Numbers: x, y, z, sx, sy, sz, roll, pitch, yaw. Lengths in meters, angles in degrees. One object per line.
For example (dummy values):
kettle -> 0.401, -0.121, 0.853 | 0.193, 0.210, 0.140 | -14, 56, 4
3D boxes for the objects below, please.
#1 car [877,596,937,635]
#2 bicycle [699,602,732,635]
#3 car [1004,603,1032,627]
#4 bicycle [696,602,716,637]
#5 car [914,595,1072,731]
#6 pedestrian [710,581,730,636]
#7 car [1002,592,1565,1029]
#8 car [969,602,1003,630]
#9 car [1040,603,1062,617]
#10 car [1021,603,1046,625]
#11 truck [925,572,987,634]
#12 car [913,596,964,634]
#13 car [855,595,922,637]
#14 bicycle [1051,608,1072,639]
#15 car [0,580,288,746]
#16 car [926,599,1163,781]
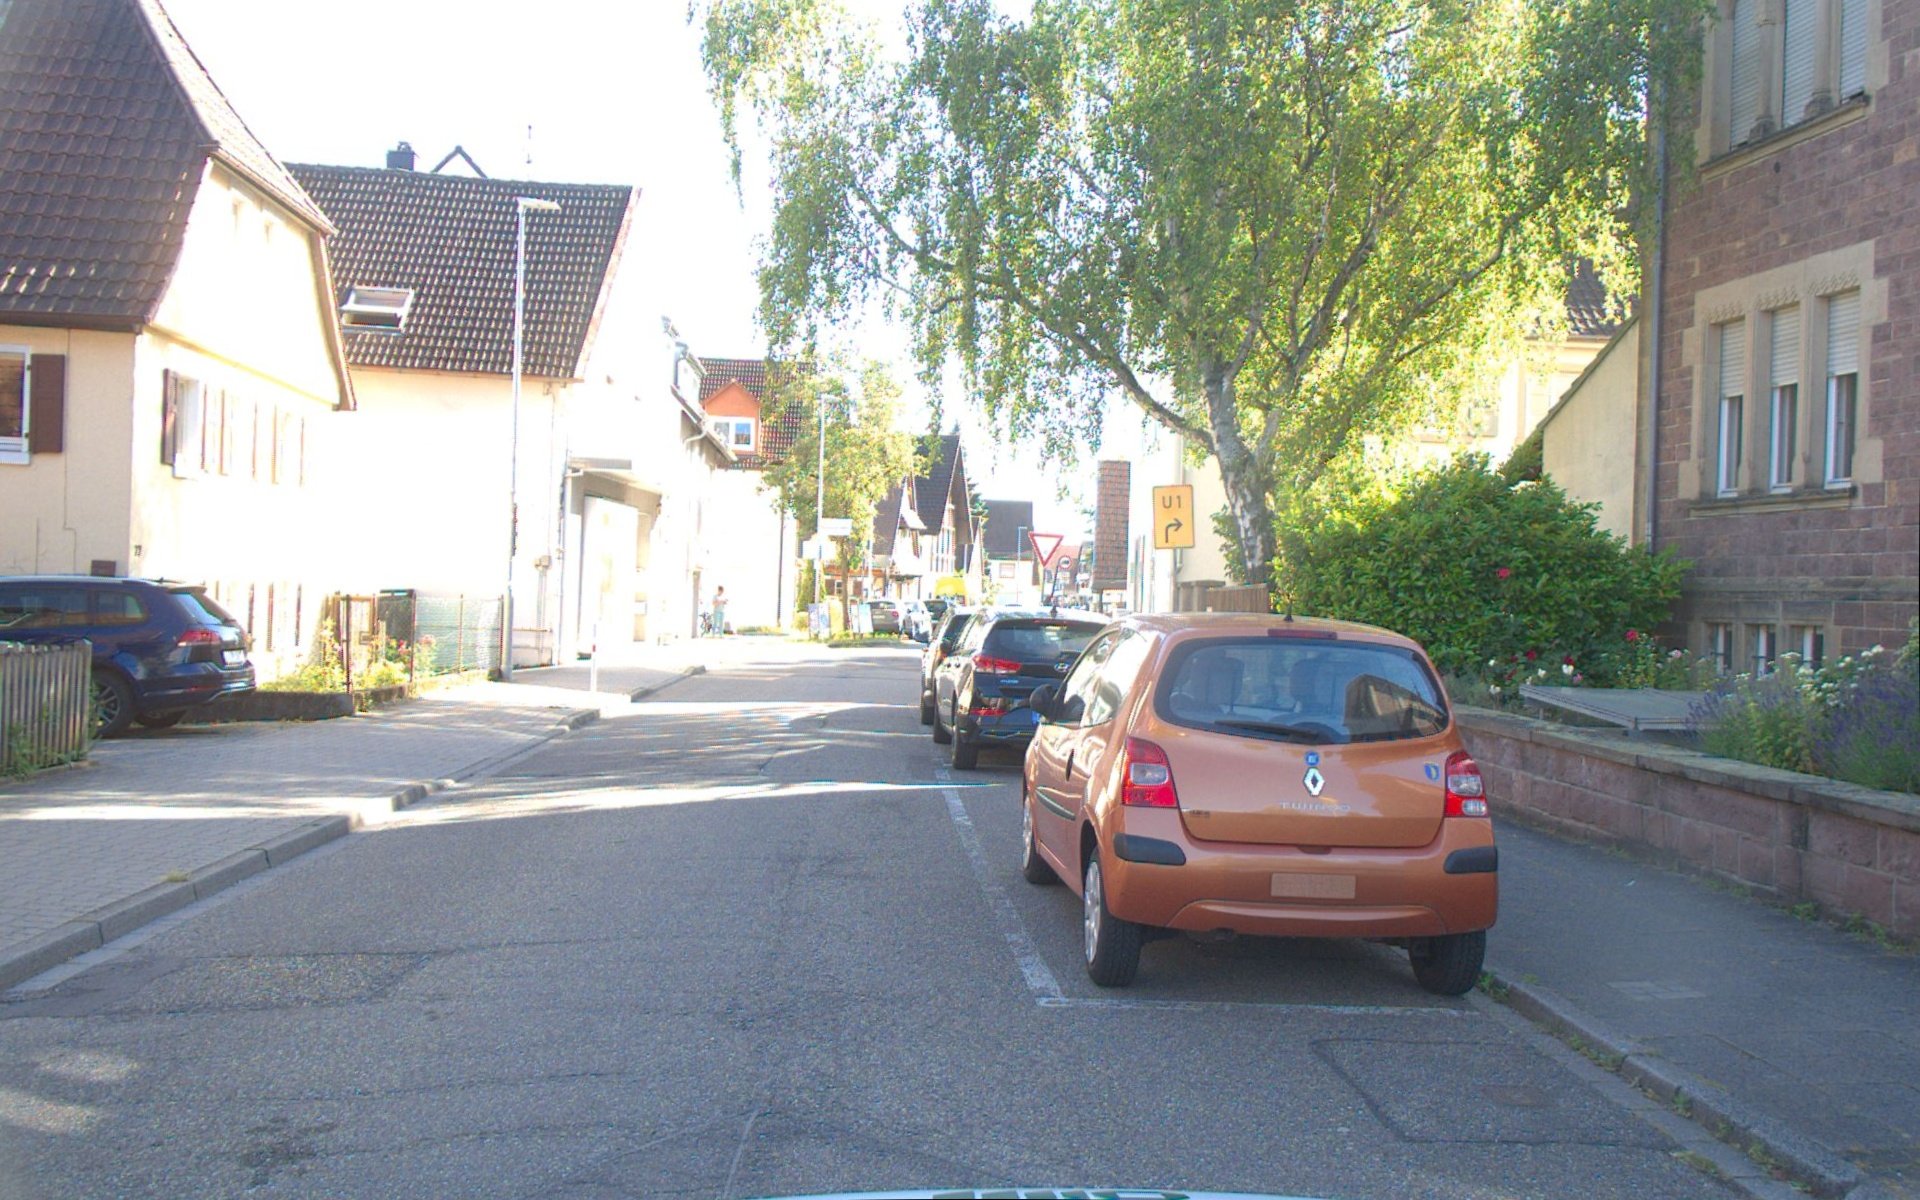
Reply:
car -> -2.164, 0.653, 68.515 | 1.768, 1.532, 4.110 | 2, -1, 8
bicycle -> -8.198, 0.643, 55.511 | 0.566, 1.071, 2.037 | 1, -1, 6
car -> 3.706, 0.946, 104.927 | 1.554, 1.468, 3.617 | 2, 0, 5
bicycle -> -8.002, 0.613, 52.099 | 0.414, 1.071, 1.381 | 1, -1, 0
car -> 0.358, 0.721, 21.084 | 1.770, 1.461, 4.285 | 2, 1, -1
pedestrian -> -7.581, 0.272, 52.272 | 0.473, 1.722, 0.557 | 2, -2, 3
car -> 1.230, 0.761, 7.931 | 1.616, 1.504, 3.930 | 2, 1, -5
car -> 1.474, 0.896, 91.801 | 1.611, 1.458, 3.617 | 2, 0, 5
car -> 10.855, 1.149, 197.487 | 1.935, 1.610, 3.989 | 2, 0, -6
car -> 5.221, 0.971, 116.763 | 1.554, 1.468, 3.617 | 2, 0, 5
truck -> -0.147, 0.169, 82.851 | 2.220, 2.919, 5.787 | 2, -1, 8
car -> -0.968, 0.706, 77.377 | 1.768, 1.650, 3.883 | 2, -1, 8
car -> -2.742, 0.623, 64.158 | 1.828, 1.532, 4.110 | 2, -1, 8
bicycle -> 4.007, 0.923, 65.323 | 0.424, 1.197, 1.830 | 1, 0, 15
car -> -8.841, 0.568, 15.831 | 4.079, 1.487, 1.845 | -1, 1, -7
car -> 0.688, 0.774, 16.367 | 1.772, 1.461, 4.282 | 2, 1, -5
